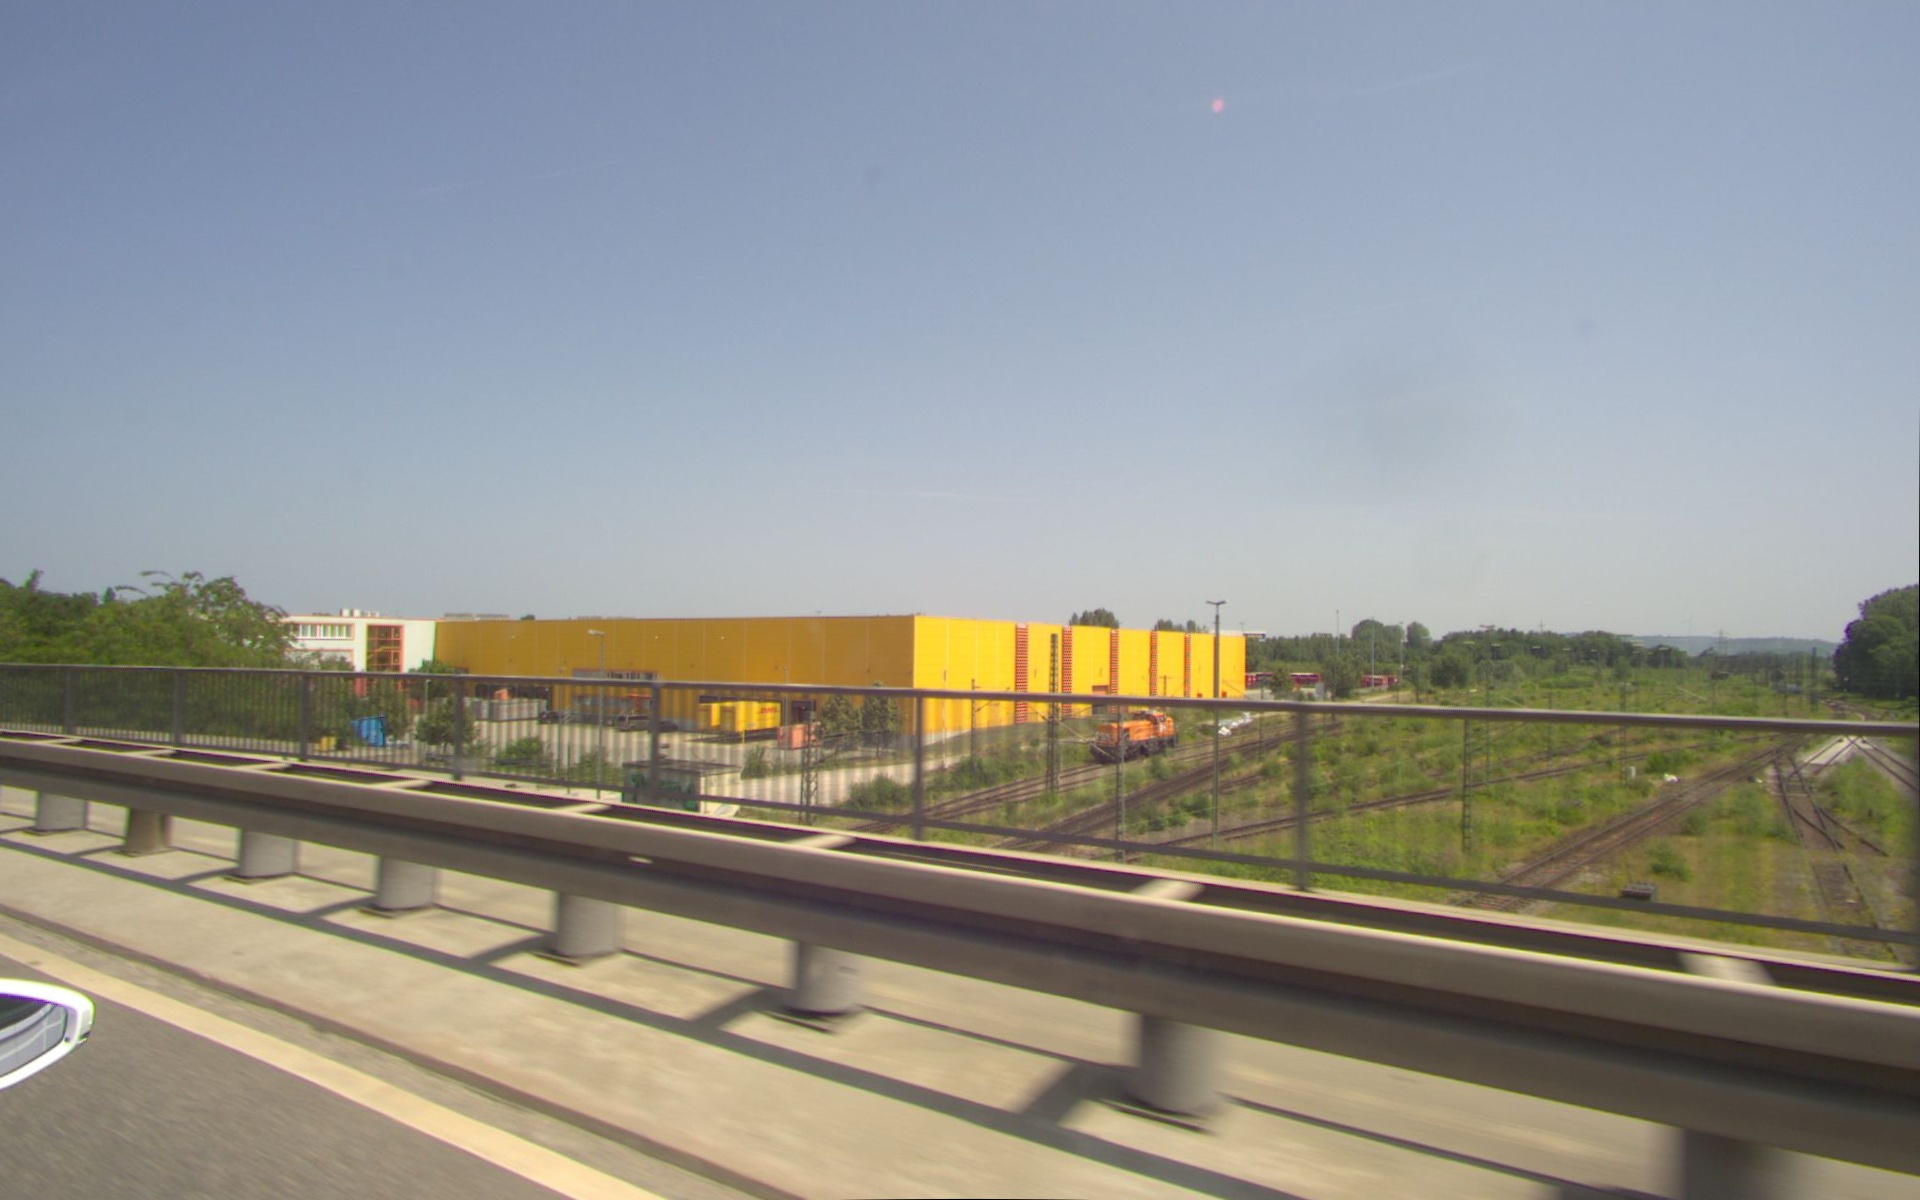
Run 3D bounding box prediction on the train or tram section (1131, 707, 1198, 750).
[{"bbox_3d":[21.224,13.092,102.972,2.207,3.733,13.953,0,-4,31],"label":"train or tram section"}]
